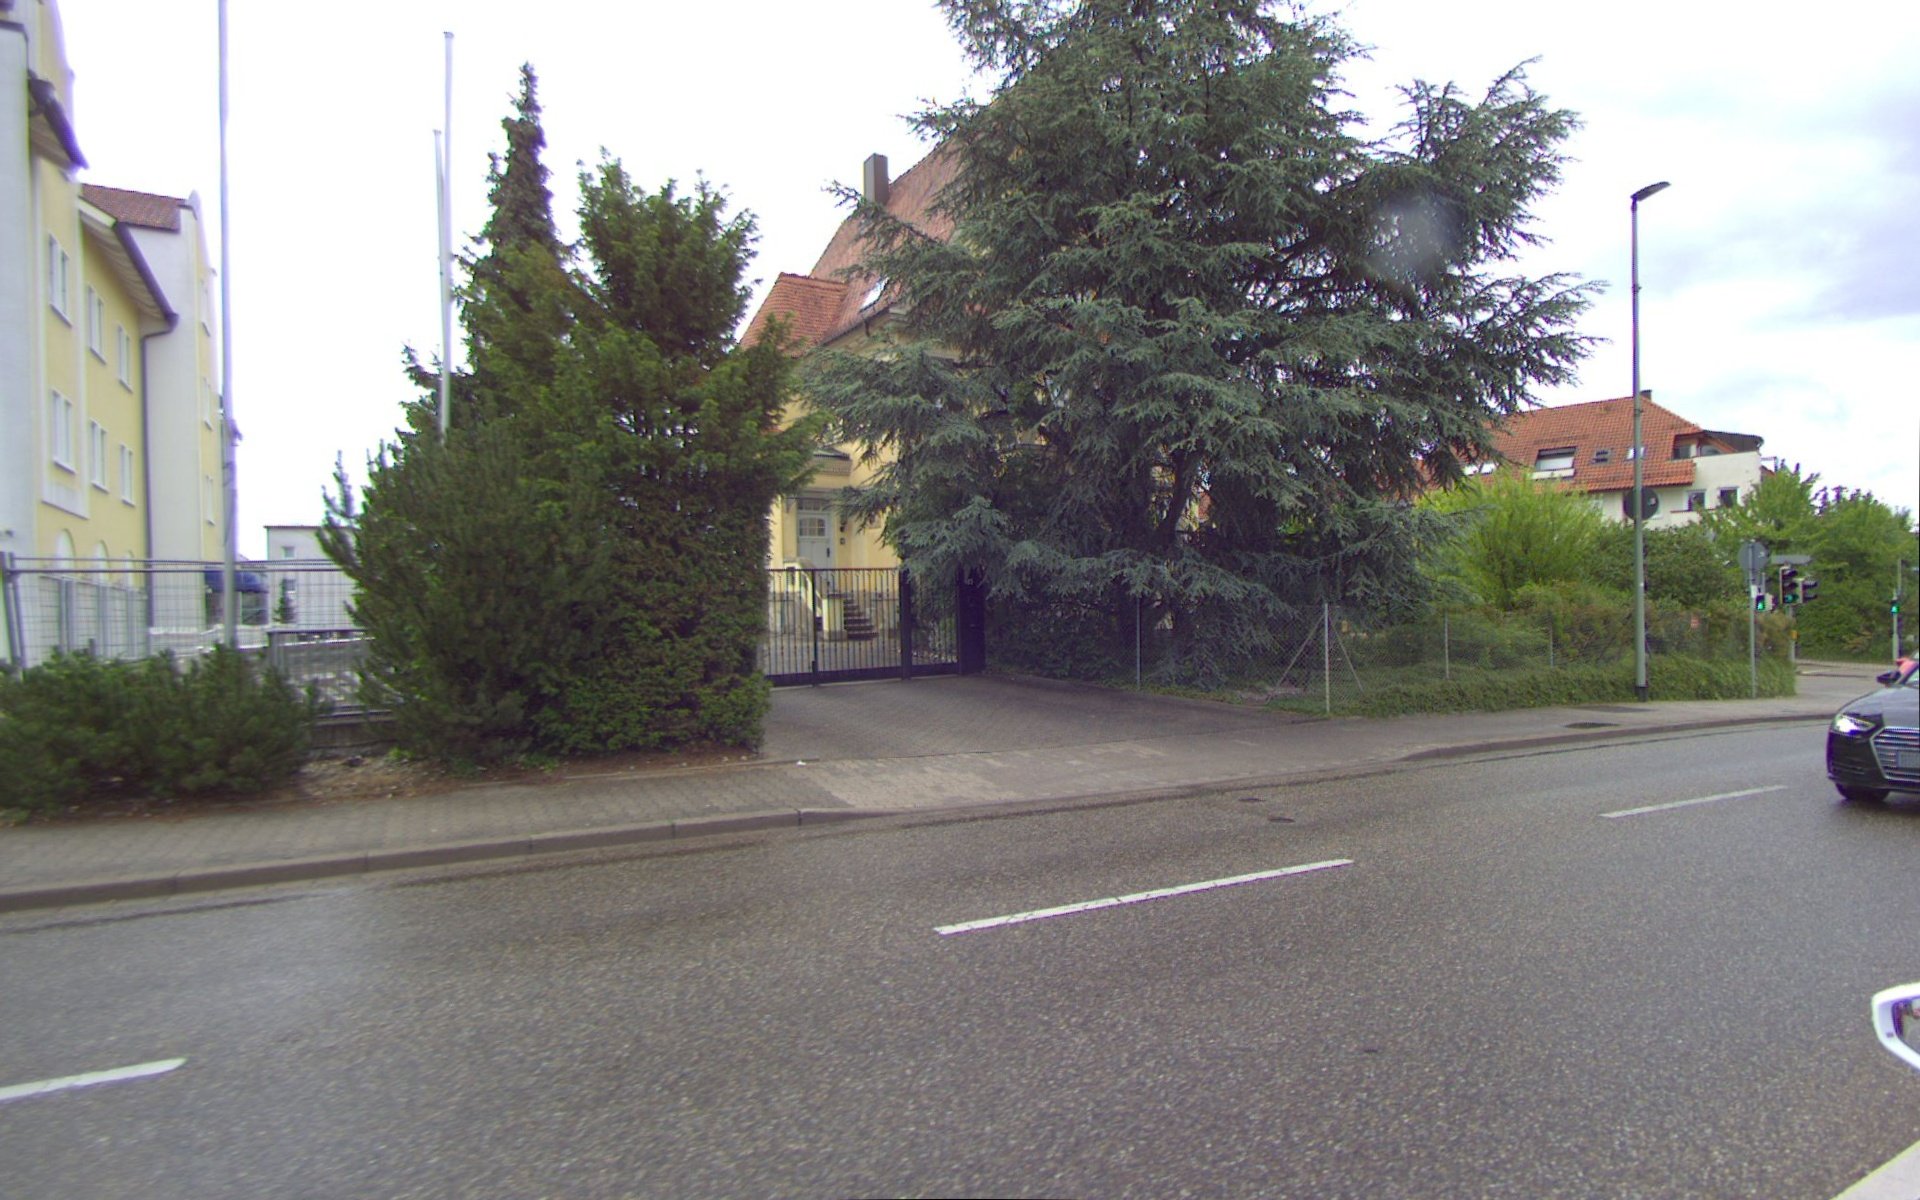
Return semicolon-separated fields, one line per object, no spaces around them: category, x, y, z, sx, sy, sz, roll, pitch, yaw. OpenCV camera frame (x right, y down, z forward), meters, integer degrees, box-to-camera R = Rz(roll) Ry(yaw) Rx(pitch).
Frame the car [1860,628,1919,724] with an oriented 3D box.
car;16.543;1.194;16.429;3.658;1.475;1.625;1;-3;-30

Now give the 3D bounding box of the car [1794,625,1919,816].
car;9.097;0.916;8.372;4.212;1.422;1.885;1;-2;-29
